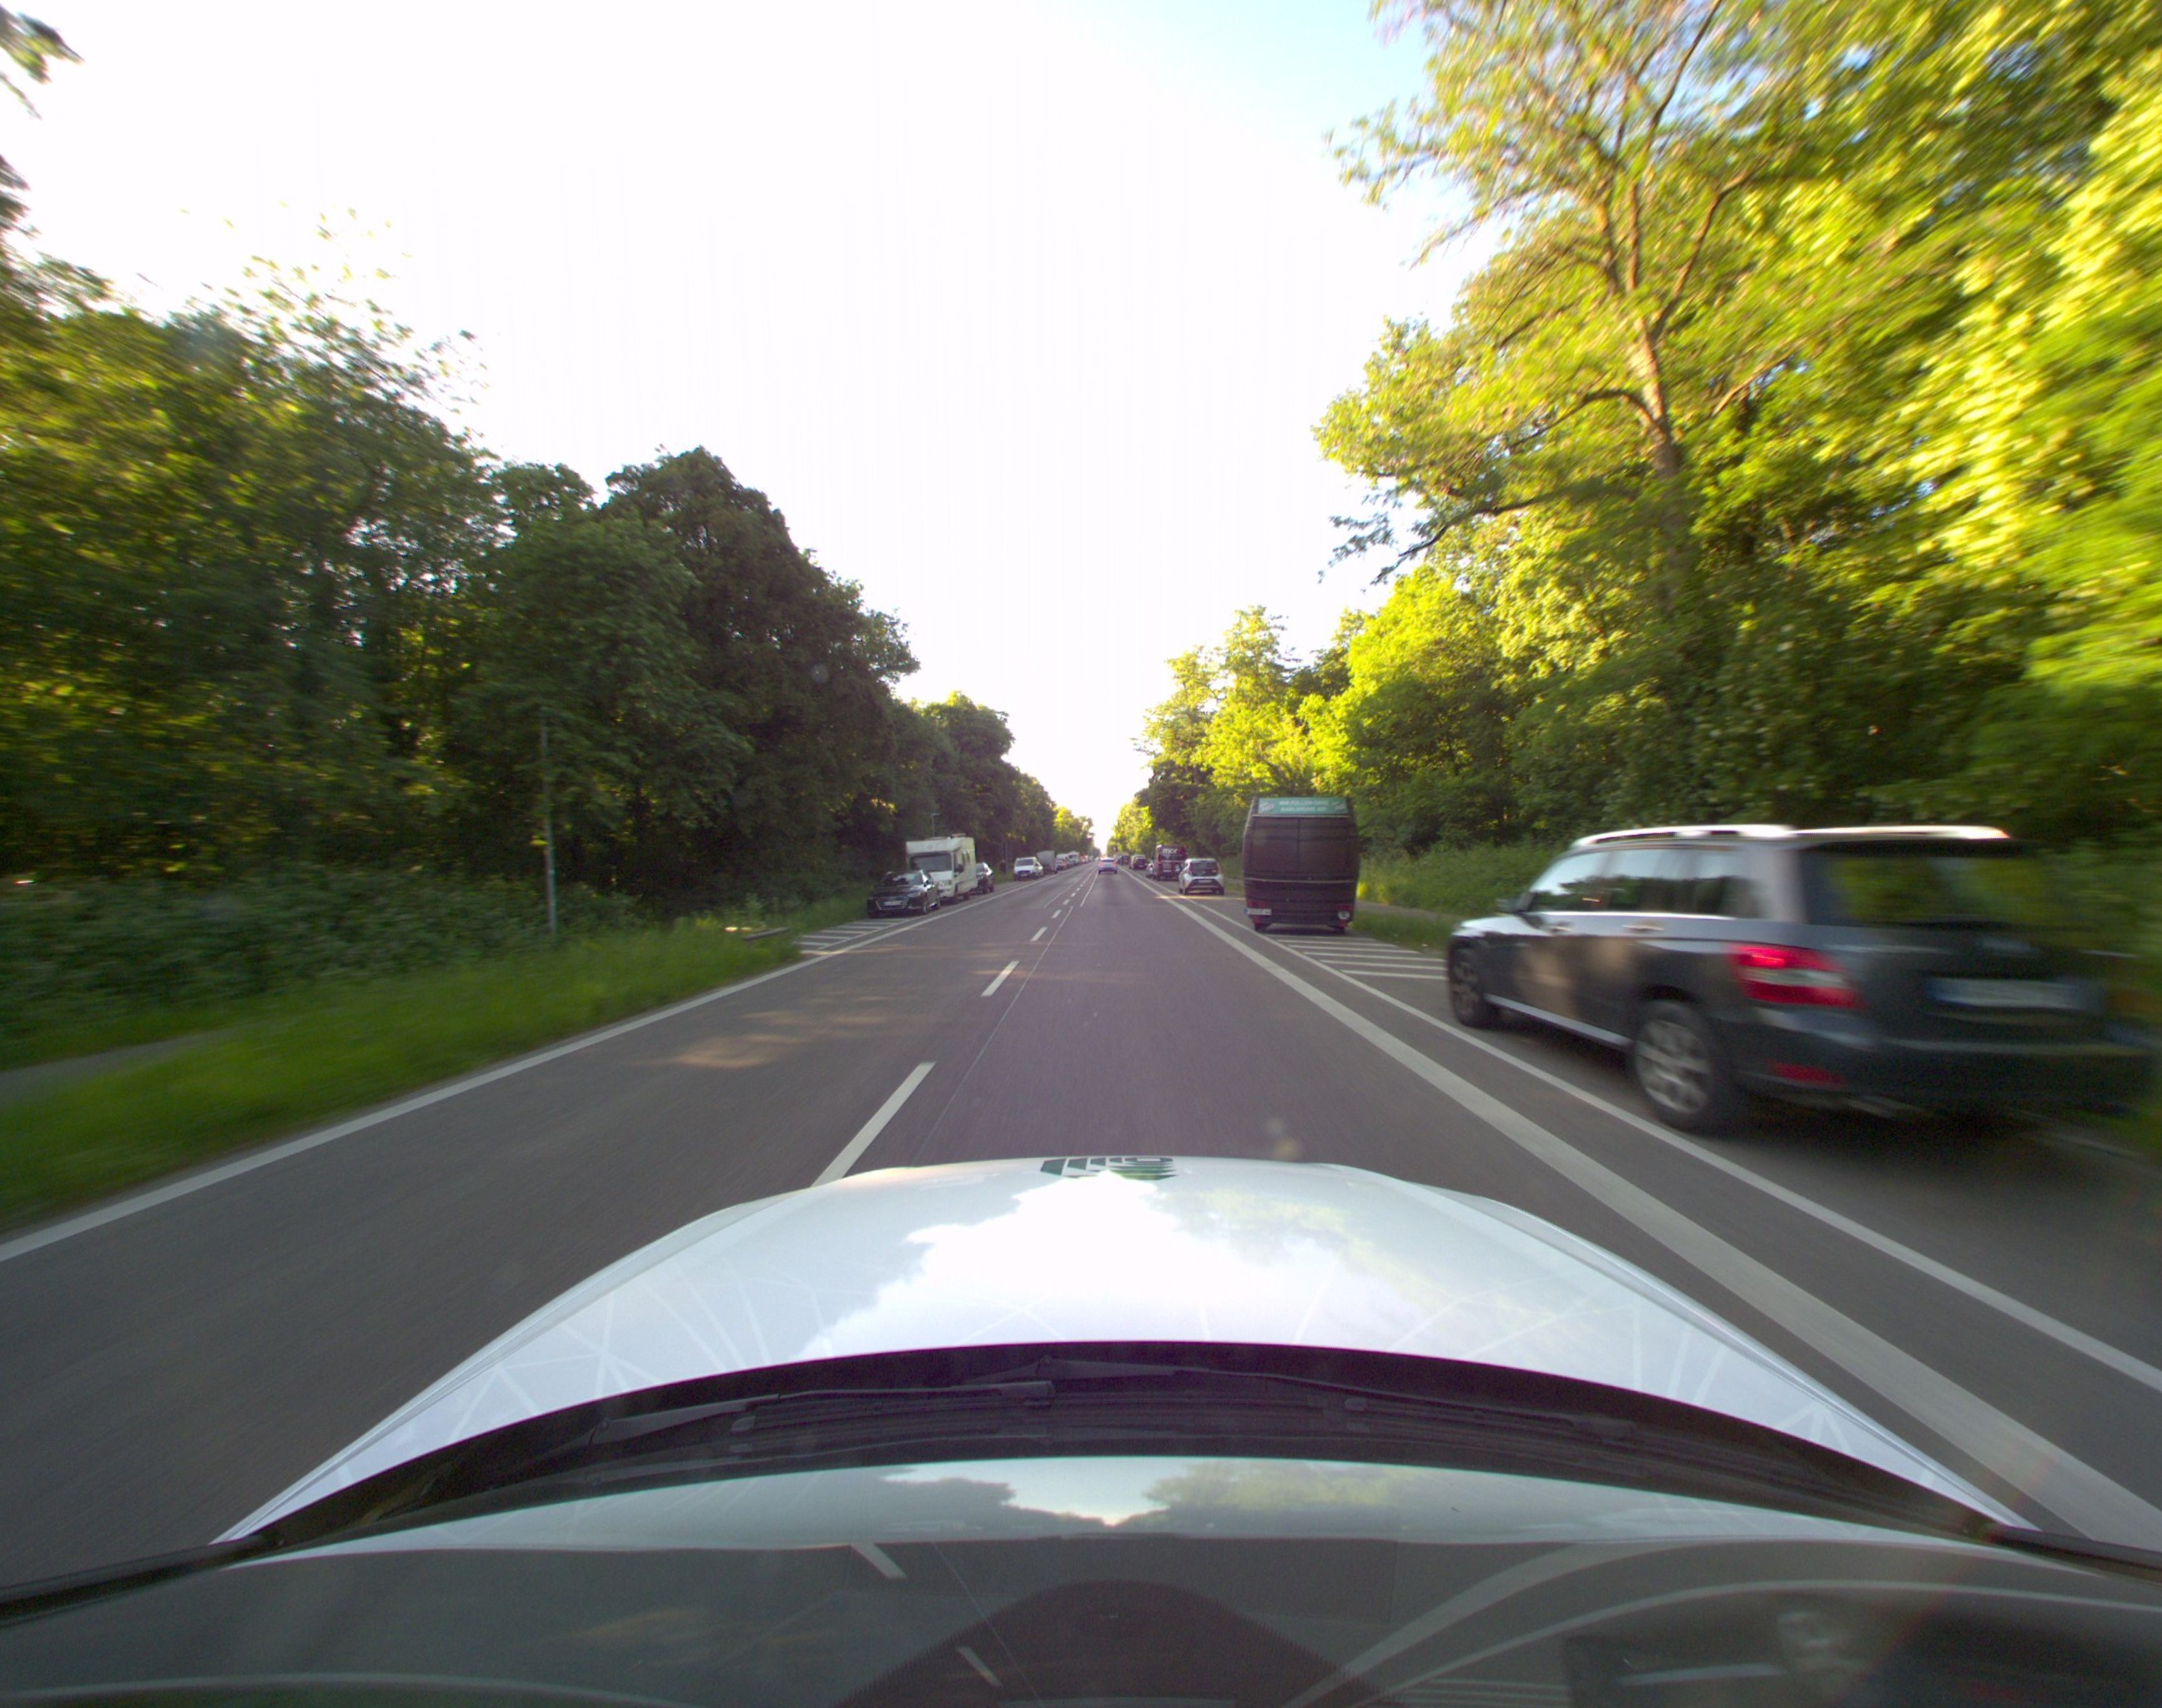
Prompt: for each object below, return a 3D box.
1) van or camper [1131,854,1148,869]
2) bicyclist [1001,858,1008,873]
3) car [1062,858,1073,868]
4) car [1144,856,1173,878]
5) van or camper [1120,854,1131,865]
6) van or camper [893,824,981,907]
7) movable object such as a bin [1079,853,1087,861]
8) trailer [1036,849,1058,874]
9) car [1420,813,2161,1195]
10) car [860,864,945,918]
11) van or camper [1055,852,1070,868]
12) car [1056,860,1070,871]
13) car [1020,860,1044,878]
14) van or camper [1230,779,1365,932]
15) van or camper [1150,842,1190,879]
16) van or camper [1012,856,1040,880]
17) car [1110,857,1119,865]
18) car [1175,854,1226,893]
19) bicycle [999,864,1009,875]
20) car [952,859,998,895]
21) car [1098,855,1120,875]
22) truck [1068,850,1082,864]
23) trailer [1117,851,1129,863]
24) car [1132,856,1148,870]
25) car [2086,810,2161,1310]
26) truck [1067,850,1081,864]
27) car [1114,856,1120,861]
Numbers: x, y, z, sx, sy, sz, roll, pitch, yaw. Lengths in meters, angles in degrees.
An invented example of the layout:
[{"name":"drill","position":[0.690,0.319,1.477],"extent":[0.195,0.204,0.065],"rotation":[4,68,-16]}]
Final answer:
[{"name":"van or camper","position":[7.280,0.893,101.546],"extent":[1.944,1.815,4.382],"rotation":[-1,0,2]},{"name":"bicyclist","position":[-7.168,1.051,76.252],"extent":[0.602,1.374,0.799],"rotation":[-1,-1,2]},{"name":"car","position":[-2.423,1.590,148.015],"extent":[1.774,1.684,4.380],"rotation":[-3,-1,2]},{"name":"car","position":[5.822,0.971,61.571],"extent":[1.742,1.515,3.999],"rotation":[-1,0,0]},{"name":"van or camper","position":[8.374,1.039,154.717],"extent":[1.986,1.932,5.201],"rotation":[-1,0,2]},{"name":"van or camper","position":[-5.851,0.457,34.222],"extent":[2.308,2.970,7.108],"rotation":[-4,0,-1]},{"name":"movable object such as a bin","position":[0.579,0.935,243.271],"extent":[2.313,2.502,4.001],"rotation":[-2,0,1]},{"name":"trailer","position":[-3.788,0.842,91.201],"extent":[1.986,2.597,4.417],"rotation":[-4,0,2]},{"name":"car","position":[4.133,0.655,5.856],"extent":[1.705,1.665,4.554],"rotation":[0,0,3]},{"name":"car","position":[-5.787,1.150,26.957],"extent":[1.822,1.476,4.678],"rotation":[-3,0,-1]},{"name":"van or camper","position":[-3.124,1.065,137.072],"extent":[2.113,2.572,6.545],"rotation":[-3,0,2]},{"name":"car","position":[-2.542,1.670,117.947],"extent":[1.725,1.478,4.326],"rotation":[-4,0,2]},{"name":"car","position":[-4.483,1.359,75.208],"extent":[1.768,1.540,4.525],"rotation":[-4,0,1]},{"name":"van or camper","position":[4.889,0.001,18.427],"extent":[2.423,2.799,6.583],"rotation":[0,0,15]},{"name":"van or camper","position":[5.893,0.419,54.837],"extent":[2.028,2.312,6.041],"rotation":[-3,0,1]},{"name":"van or camper","position":[-4.613,1.145,68.545],"extent":[1.829,1.911,4.856],"rotation":[-3,0,1]},{"name":"car","position":[7.297,1.438,177.714],"extent":[1.834,1.662,4.002],"rotation":[-1,0,2]},{"name":"car","position":[4.908,0.763,33.820],"extent":[1.705,1.545,4.025],"rotation":[0,0,3]},{"name":"bicycle","position":[-7.173,1.442,76.141],"extent":[0.649,1.008,2.397],"rotation":[-1,0,2]},{"name":"car","position":[-5.480,1.167,42.638],"extent":[1.640,1.632,4.275],"rotation":[-4,0,2]},{"name":"car","position":[2.711,1.020,78.681],"extent":[2.021,1.840,4.031],"rotation":[-2,0,2]},{"name":"truck","position":[-1.280,0.713,184.064],"extent":[2.697,3.093,7.992],"rotation":[-2,0,2]},{"name":"trailer","position":[10.192,0.744,199.831],"extent":[2.747,2.870,6.591],"rotation":[-2,0,2]},{"name":"car","position":[6.867,1.025,94.882],"extent":[1.684,1.524,4.151],"rotation":[0,0,2]},{"name":"car","position":[4.143,0.649,0.453],"extent":[1.705,1.568,4.554],"rotation":[0,0,3]},{"name":"truck","position":[-1.689,0.755,195.612],"extent":[2.697,3.347,10.927],"rotation":[-2,0,2]},{"name":"car","position":[10.391,1.275,235.428],"extent":[1.650,1.478,3.755],"rotation":[-2,0,2]}]
